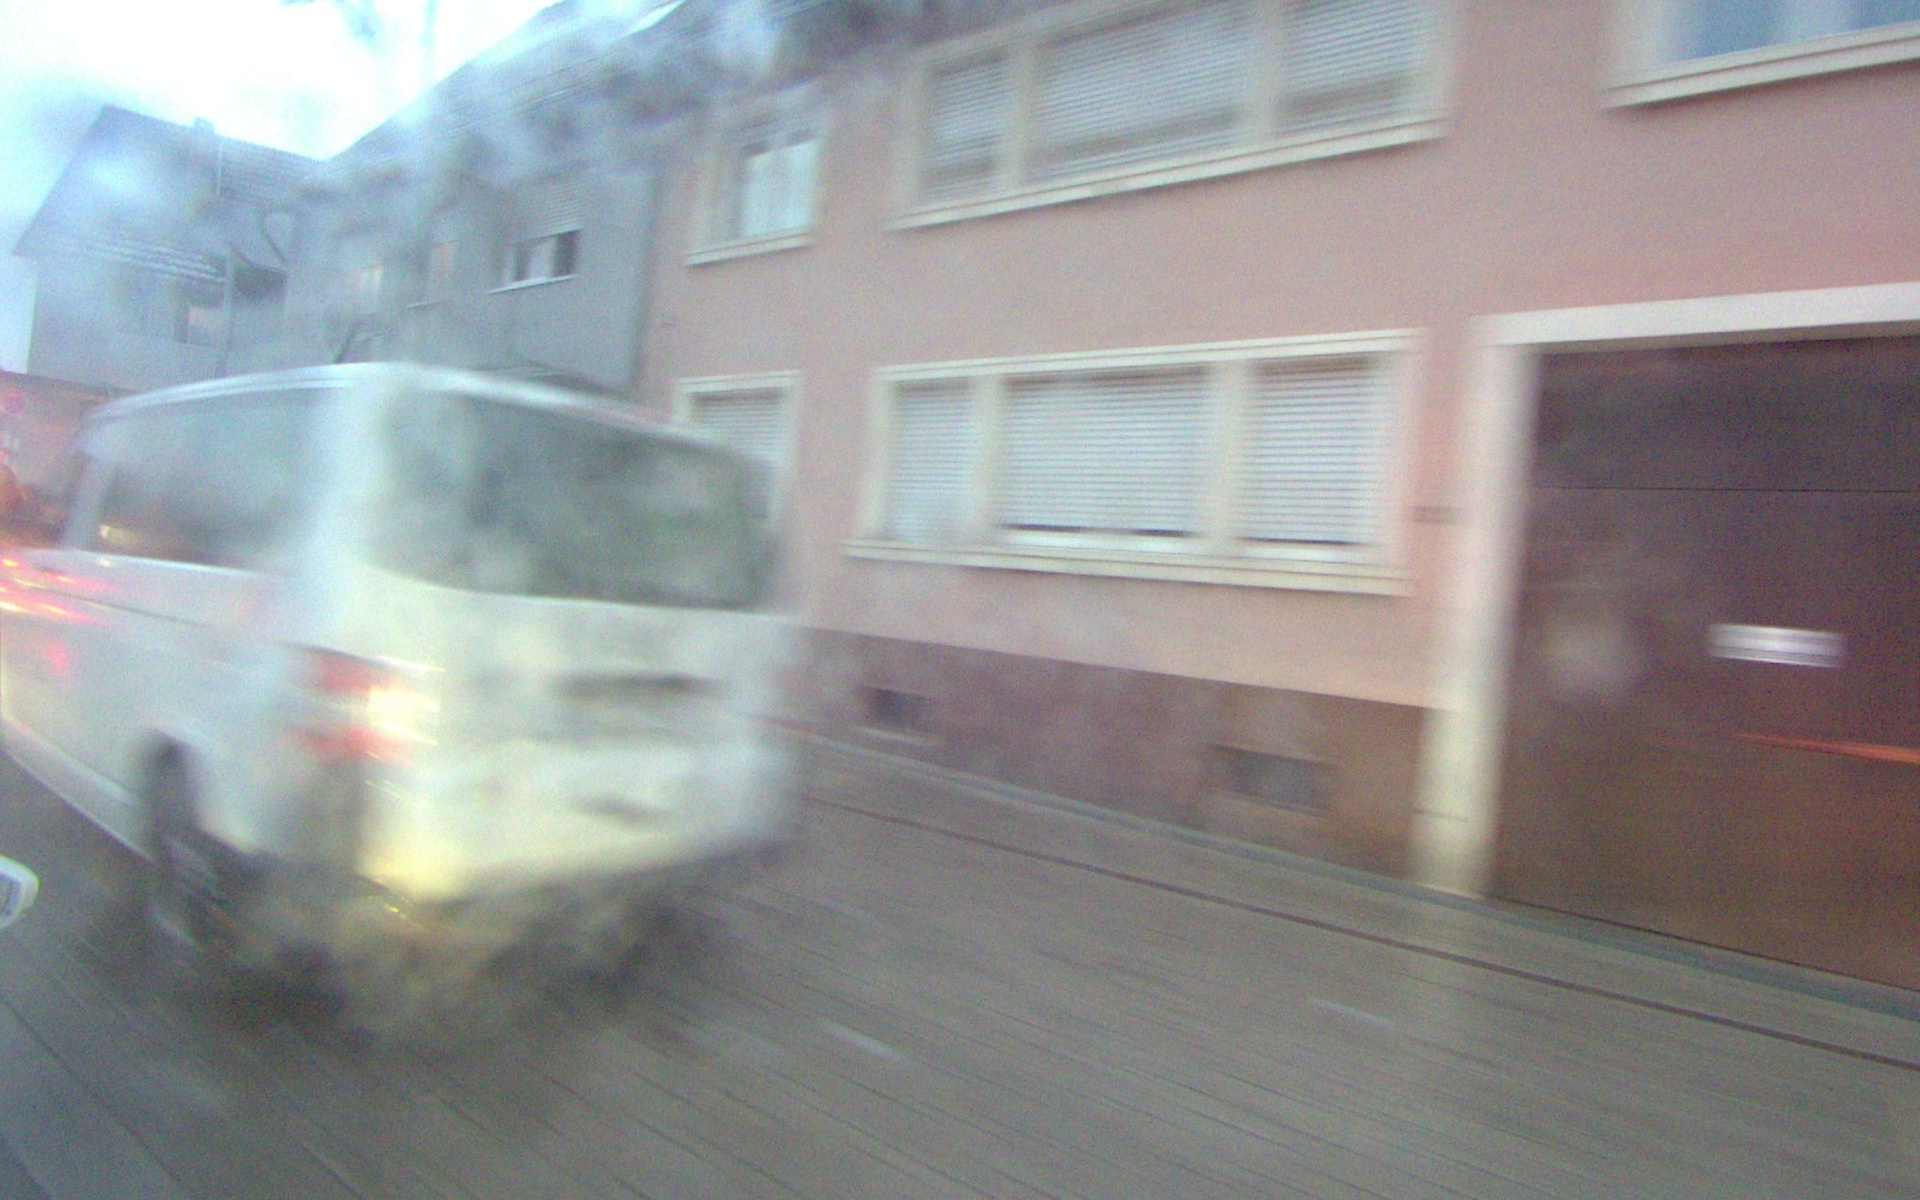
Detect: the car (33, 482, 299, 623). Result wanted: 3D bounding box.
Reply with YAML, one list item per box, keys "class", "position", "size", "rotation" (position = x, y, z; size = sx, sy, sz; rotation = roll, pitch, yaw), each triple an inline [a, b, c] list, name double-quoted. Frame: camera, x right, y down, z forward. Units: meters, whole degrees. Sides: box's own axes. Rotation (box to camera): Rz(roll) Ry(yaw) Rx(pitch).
- class: "car"
  position: [-11.280, -0.688, 14.258]
  size: [3.602, 1.581, 1.735]
  rotation: [7, 1, 31]

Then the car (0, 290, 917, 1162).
- class: "car"
  position: [-2.742, 0.131, 4.511]
  size: [4.778, 1.984, 1.972]
  rotation: [7, 1, 37]

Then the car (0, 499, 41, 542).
- class: "car"
  position: [-34.478, -2.891, 35.926]
  size: [1.638, 1.460, 3.834]
  rotation: [6, 0, -32]

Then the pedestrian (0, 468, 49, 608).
- class: "pedestrian"
  position: [-11.939, -0.789, 12.521]
  size: [0.778, 1.690, 0.580]
  rotation: [7, 2, 29]
